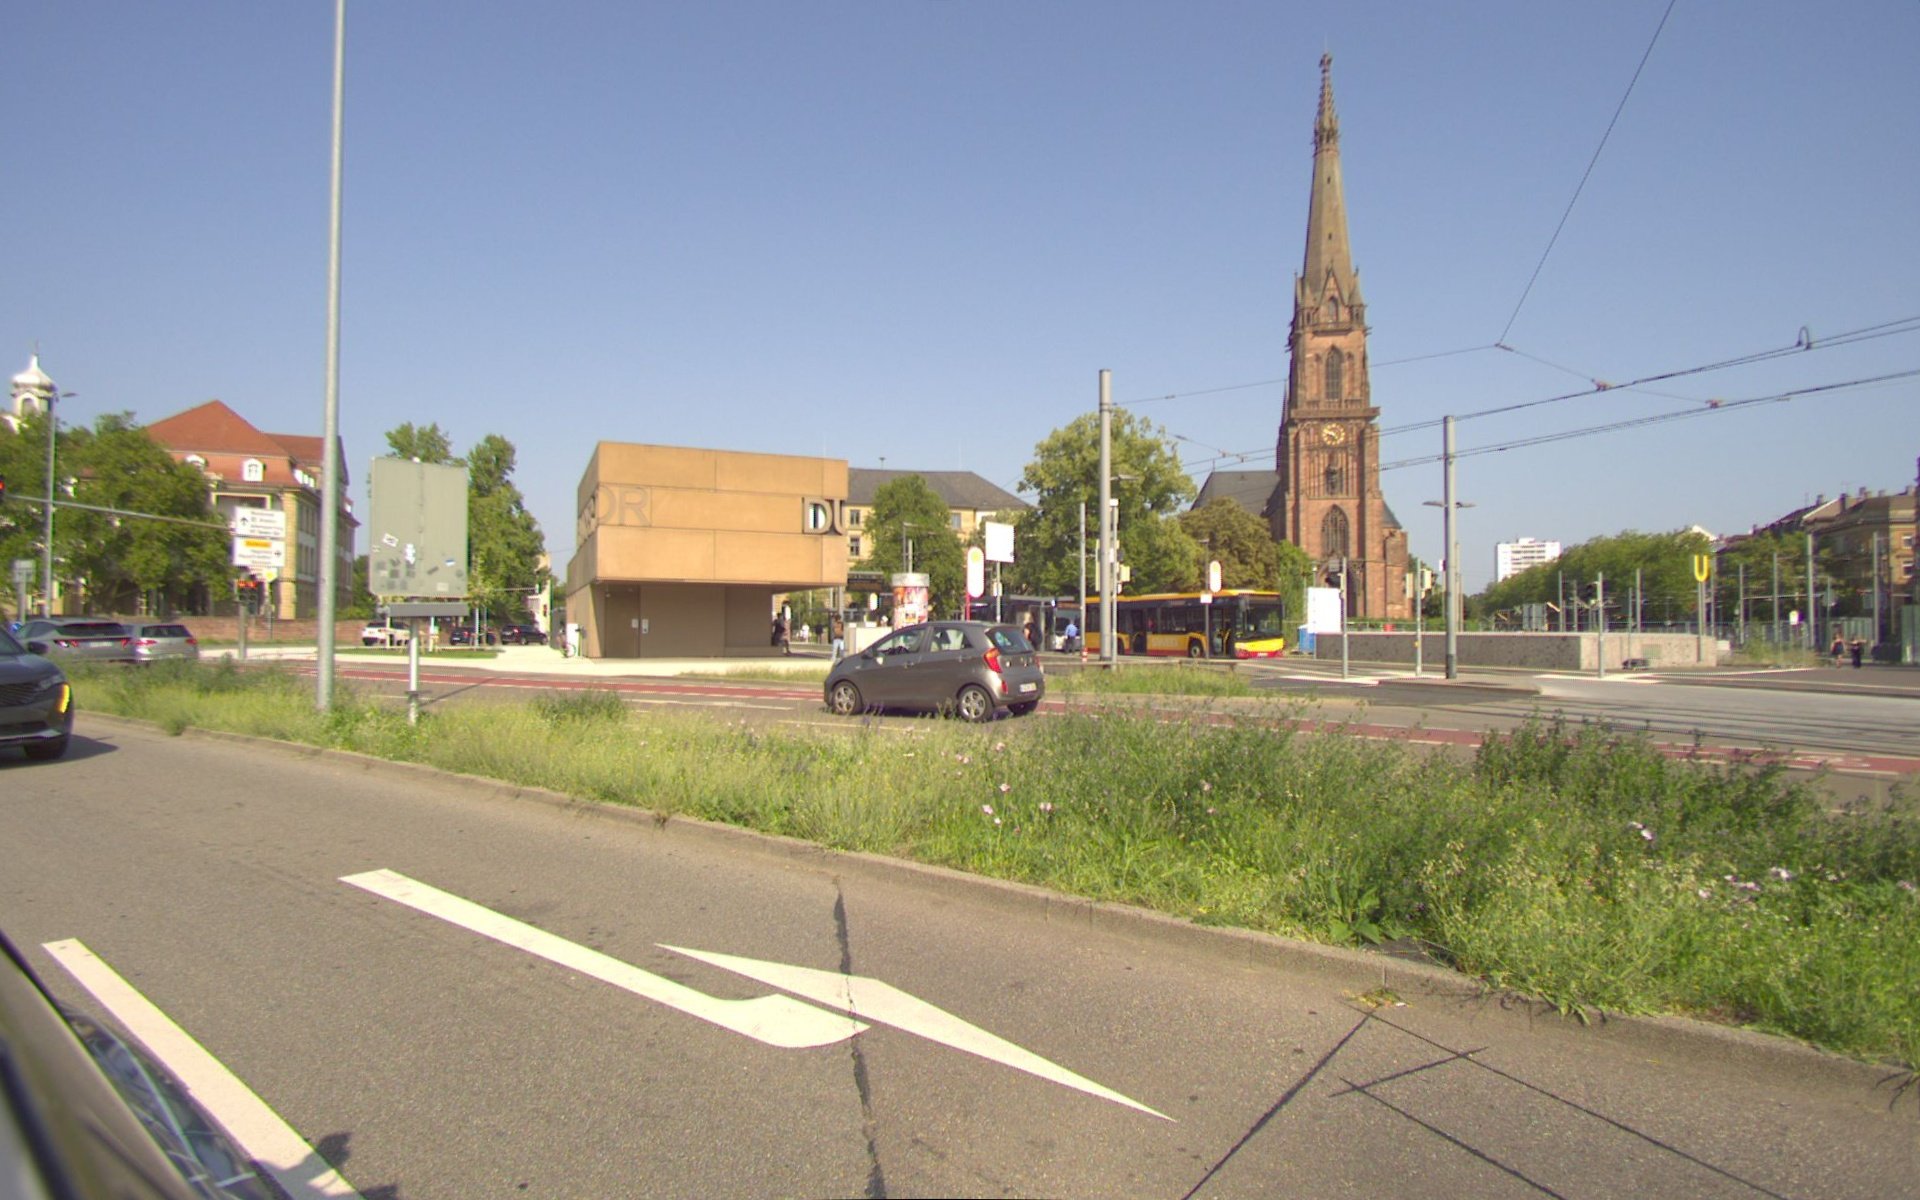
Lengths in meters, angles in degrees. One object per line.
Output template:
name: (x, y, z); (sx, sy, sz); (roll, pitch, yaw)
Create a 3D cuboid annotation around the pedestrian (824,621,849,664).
pedestrian: (-4.745, 1.622, 38.748); (0.707, 1.642, 0.859); (1, -2, -25)

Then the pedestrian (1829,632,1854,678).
pedestrian: (36.086, 2.233, 41.440); (0.651, 1.880, 0.713); (-2, -3, 35)

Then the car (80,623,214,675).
car: (-24.393, 1.429, 30.342); (4.210, 1.444, 1.800); (-1, -2, 32)

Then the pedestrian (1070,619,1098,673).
pedestrian: (4.237, 1.559, 34.600); (0.698, 1.814, 0.772); (-1, -2, 31)

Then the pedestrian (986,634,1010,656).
pedestrian: (1.941, 2.293, 51.730); (1.013, 1.142, 0.740); (1, -2, -32)

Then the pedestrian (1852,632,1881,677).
pedestrian: (36.765, 2.212, 41.049); (0.750, 1.796, 0.699); (-2, -3, 35)

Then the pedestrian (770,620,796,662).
pedestrian: (-7.311, 1.687, 41.763); (0.851, 1.718, 0.734); (1, -2, -27)

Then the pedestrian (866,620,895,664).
pedestrian: (-2.899, 1.524, 37.037); (0.851, 1.571, 0.993); (1, -2, -17)

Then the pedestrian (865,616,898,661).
pedestrian: (-2.965, 1.456, 38.247); (0.861, 1.685, 0.981); (-1, -2, 25)

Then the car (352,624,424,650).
car: (-38.218, 2.471, 67.739); (1.977, 1.646, 4.361); (0, -2, 8)

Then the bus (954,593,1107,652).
bus: (3.676, 1.348, 58.304); (3.242, 3.000, 12.838); (1, -2, -24)

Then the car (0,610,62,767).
car: (-11.049, 0.880, 10.881); (4.372, 1.503, 1.664); (-2, -3, 43)

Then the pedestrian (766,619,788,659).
pedestrian: (-8.131, 1.741, 44.945); (0.707, 1.751, 0.859); (1, -2, -25)

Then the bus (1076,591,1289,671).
bus: (9.505, 1.395, 45.651); (2.669, 3.132, 12.254); (1, -2, -24)

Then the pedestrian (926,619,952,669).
pedestrian: (-0.788, 1.618, 37.192); (0.689, 1.814, 0.782); (1, -2, -26)

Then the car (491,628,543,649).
car: (-36.047, 3.170, 82.498); (1.976, 1.646, 4.362); (0, -2, 7)

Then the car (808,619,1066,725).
car: (-0.399, 1.055, 15.877); (3.665, 1.463, 1.873); (-1, -2, 34)

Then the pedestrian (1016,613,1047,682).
pedestrian: (1.907, 1.271, 27.161); (0.690, 1.814, 0.781); (0, -2, -7)

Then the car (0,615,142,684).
car: (-22.872, 1.223, 25.637); (4.439, 1.630, 1.684); (-1, -2, 27)

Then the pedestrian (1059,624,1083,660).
pedestrian: (5.392, 2.032, 49.111); (0.816, 1.752, 0.838); (1, -2, -29)

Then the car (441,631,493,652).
car: (-36.992, 3.126, 76.013); (1.607, 1.509, 3.840); (0, -2, 8)

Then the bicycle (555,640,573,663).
bicycle: (-15.290, 1.982, 39.026); (0.582, 0.844, 1.552); (-2, -1, -23)
